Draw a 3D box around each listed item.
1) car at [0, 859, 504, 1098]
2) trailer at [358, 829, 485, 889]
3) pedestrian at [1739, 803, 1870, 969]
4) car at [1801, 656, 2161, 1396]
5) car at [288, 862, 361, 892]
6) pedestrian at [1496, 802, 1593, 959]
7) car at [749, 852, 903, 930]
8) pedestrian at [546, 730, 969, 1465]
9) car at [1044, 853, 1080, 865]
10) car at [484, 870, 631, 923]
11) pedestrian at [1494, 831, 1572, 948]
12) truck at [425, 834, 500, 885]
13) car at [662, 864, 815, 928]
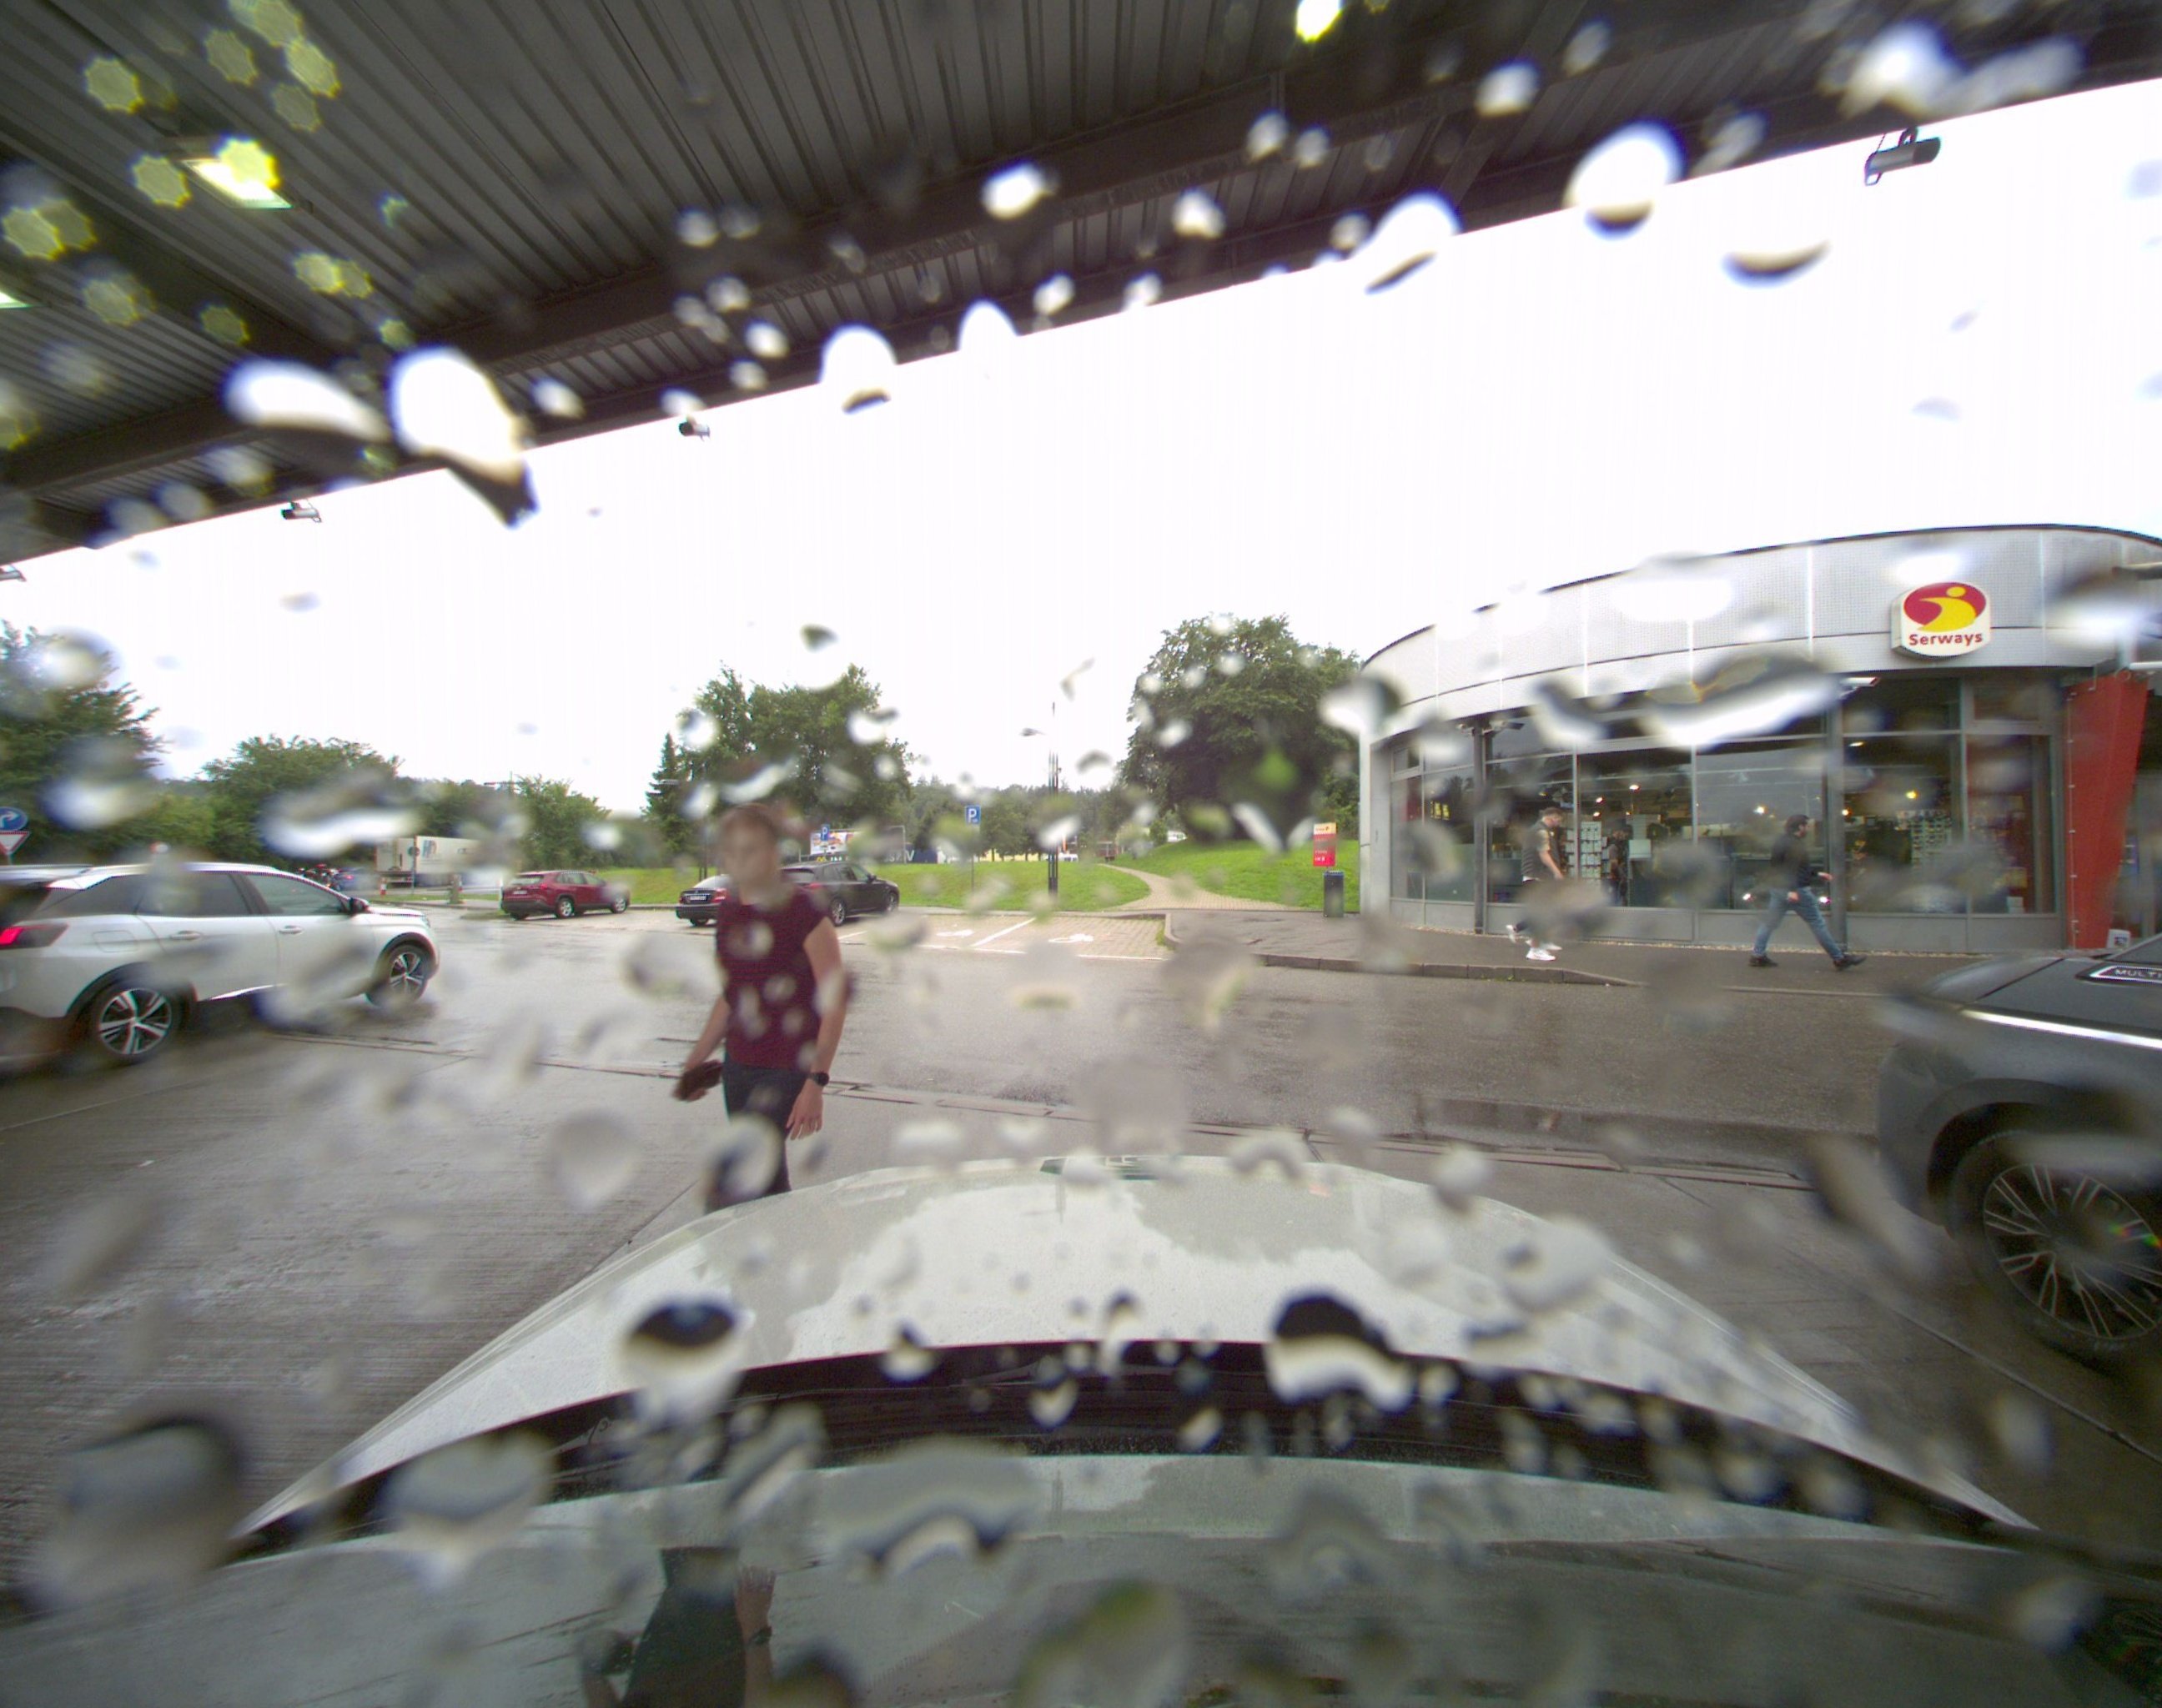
[{"bbox_3d":[-8.171,0.847,7.842,1.810,1.565,4.999,0,0,-2],"label":"car"},{"bbox_3d":[-54.885,0.441,68.475,3.466,4.557,13.827,0,-1,-18],"label":"trailer"},{"bbox_3d":[8.625,0.366,9.764,0.989,1.864,0.804,-2,0,30],"label":"pedestrian"},{"bbox_3d":[3.715,0.447,1.222,1.809,1.948,4.002,-1,0,2],"label":"car"},{"bbox_3d":[-49.252,1.476,53.163,1.934,1.838,4.361,-1,0,-20],"label":"car"},{"bbox_3d":[5.776,0.314,10.166,0.963,1.848,0.778,-2,0,30],"label":"pedestrian"},{"bbox_3d":[-6.616,0.892,21.733,1.871,1.828,4.429,-2,0,13],"label":"car"},{"bbox_3d":[-0.902,0.581,2.446,0.788,1.734,0.843,-2,-1,18],"label":"pedestrian"},{"bbox_3d":[-3.177,0.816,134.070,5.376,2.013,2.468,-1,0,21],"label":"car"},{"bbox_3d":[-18.158,1.423,28.515,1.873,1.596,4.364,-2,0,8],"label":"car"},{"bbox_3d":[6.300,0.479,11.342,0.880,1.550,0.665,-2,0,31],"label":"pedestrian"},{"bbox_3d":[-57.107,0.515,75.415,3.467,4.557,6.694,0,-1,-18],"label":"truck"},{"bbox_3d":[-9.617,1.143,23.291,1.871,1.565,4.200,-2,0,13],"label":"car"}]
